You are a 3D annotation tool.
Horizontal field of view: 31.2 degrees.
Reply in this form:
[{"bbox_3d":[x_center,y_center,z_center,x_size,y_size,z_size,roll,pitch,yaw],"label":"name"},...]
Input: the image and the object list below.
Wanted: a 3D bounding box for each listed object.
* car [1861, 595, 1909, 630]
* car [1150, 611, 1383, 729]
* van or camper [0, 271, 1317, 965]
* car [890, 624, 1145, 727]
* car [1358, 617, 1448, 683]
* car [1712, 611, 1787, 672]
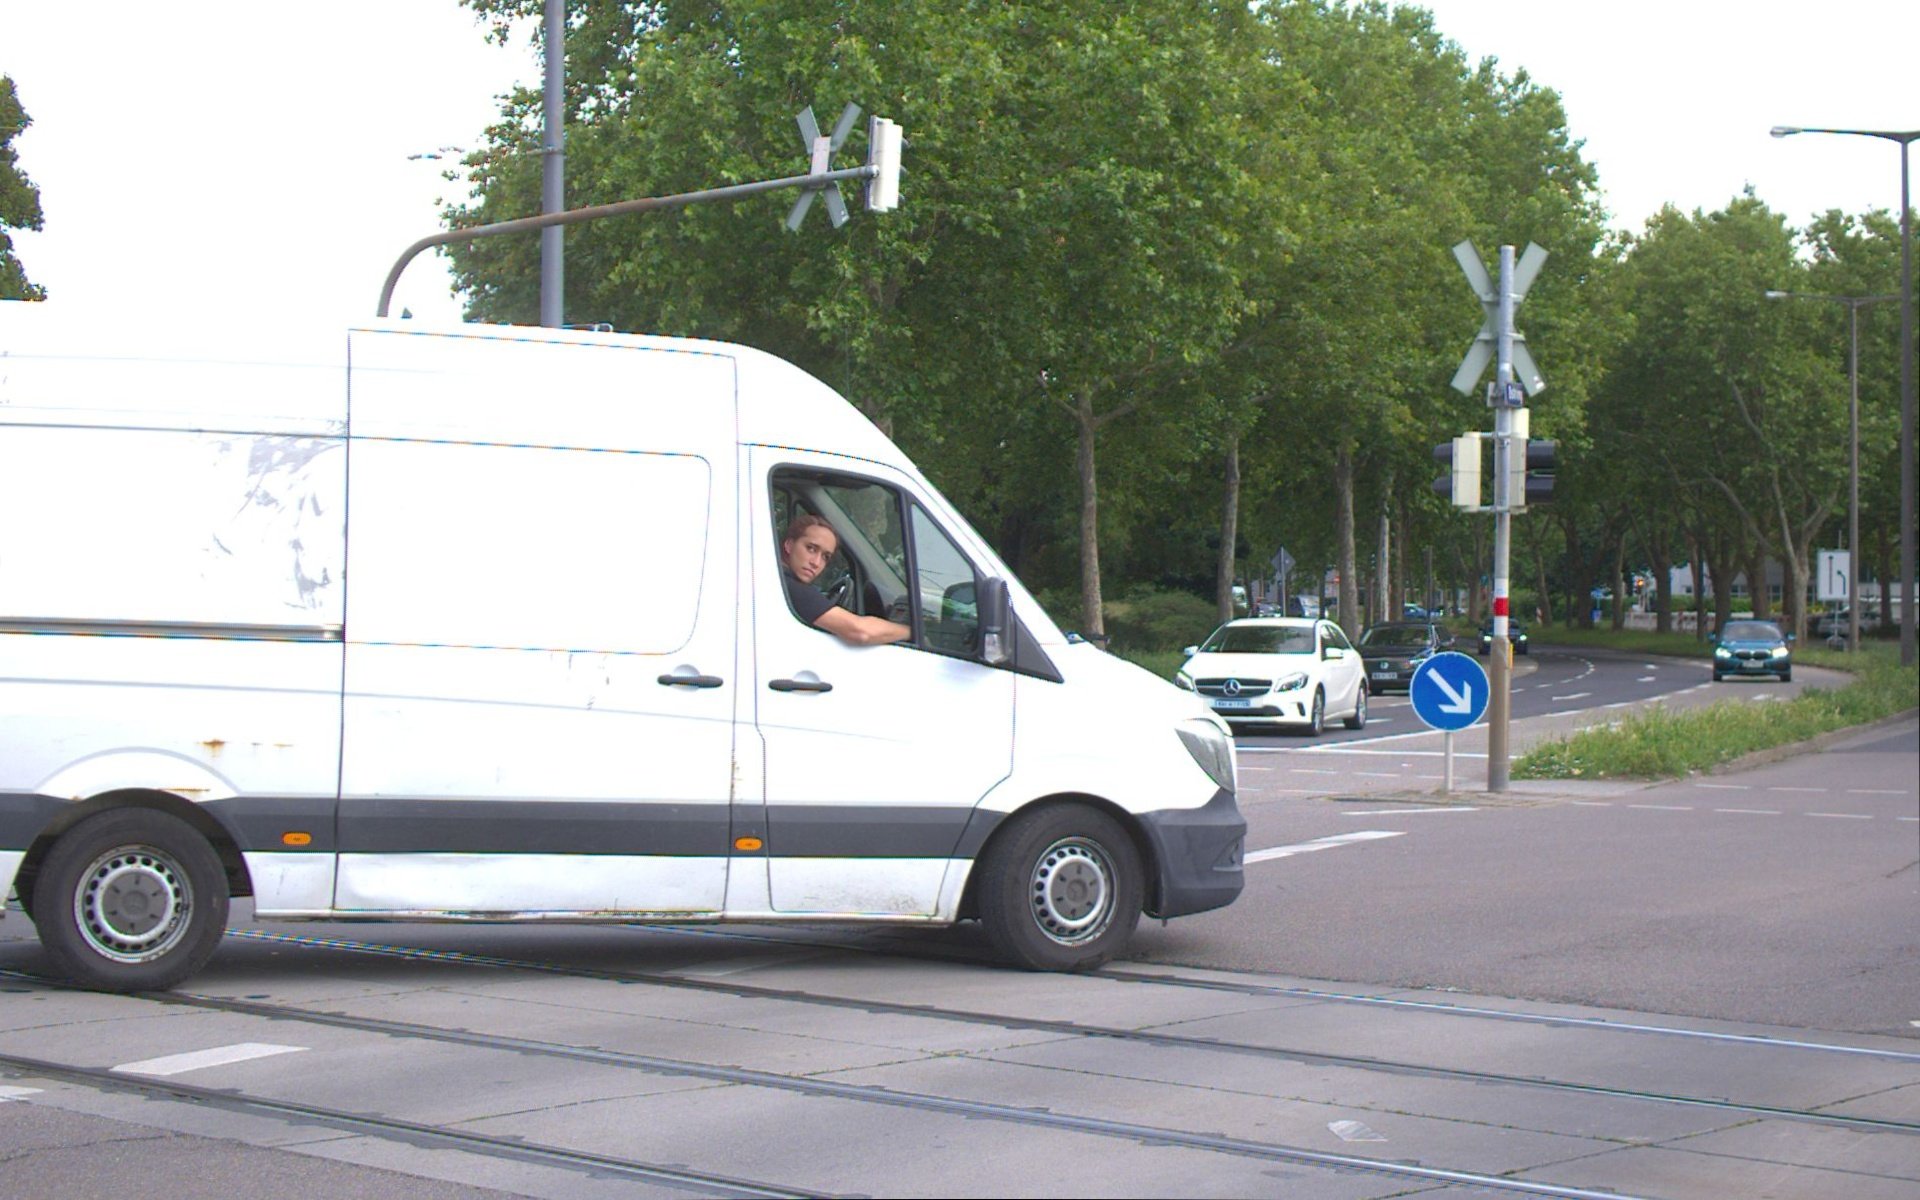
[{"bbox_3d":[45.517,0.607,169.281,1.994,1.568,3.999,0,2,11],"label":"car"},{"bbox_3d":[3.859,0.830,42.694,1.827,1.360,4.133,1,0,20],"label":"car"},{"bbox_3d":[-1.731,0.098,14.031,6.015,2.516,1.983,1,-1,-17],"label":"van or camper"},{"bbox_3d":[0.765,0.920,43.299,1.637,1.187,3.702,1,0,29],"label":"car"},{"bbox_3d":[8.695,0.959,67.277,1.635,1.187,3.707,1,0,9],"label":"car"},{"bbox_3d":[18.641,0.961,81.238,1.657,1.267,3.769,0,2,12],"label":"car"}]
